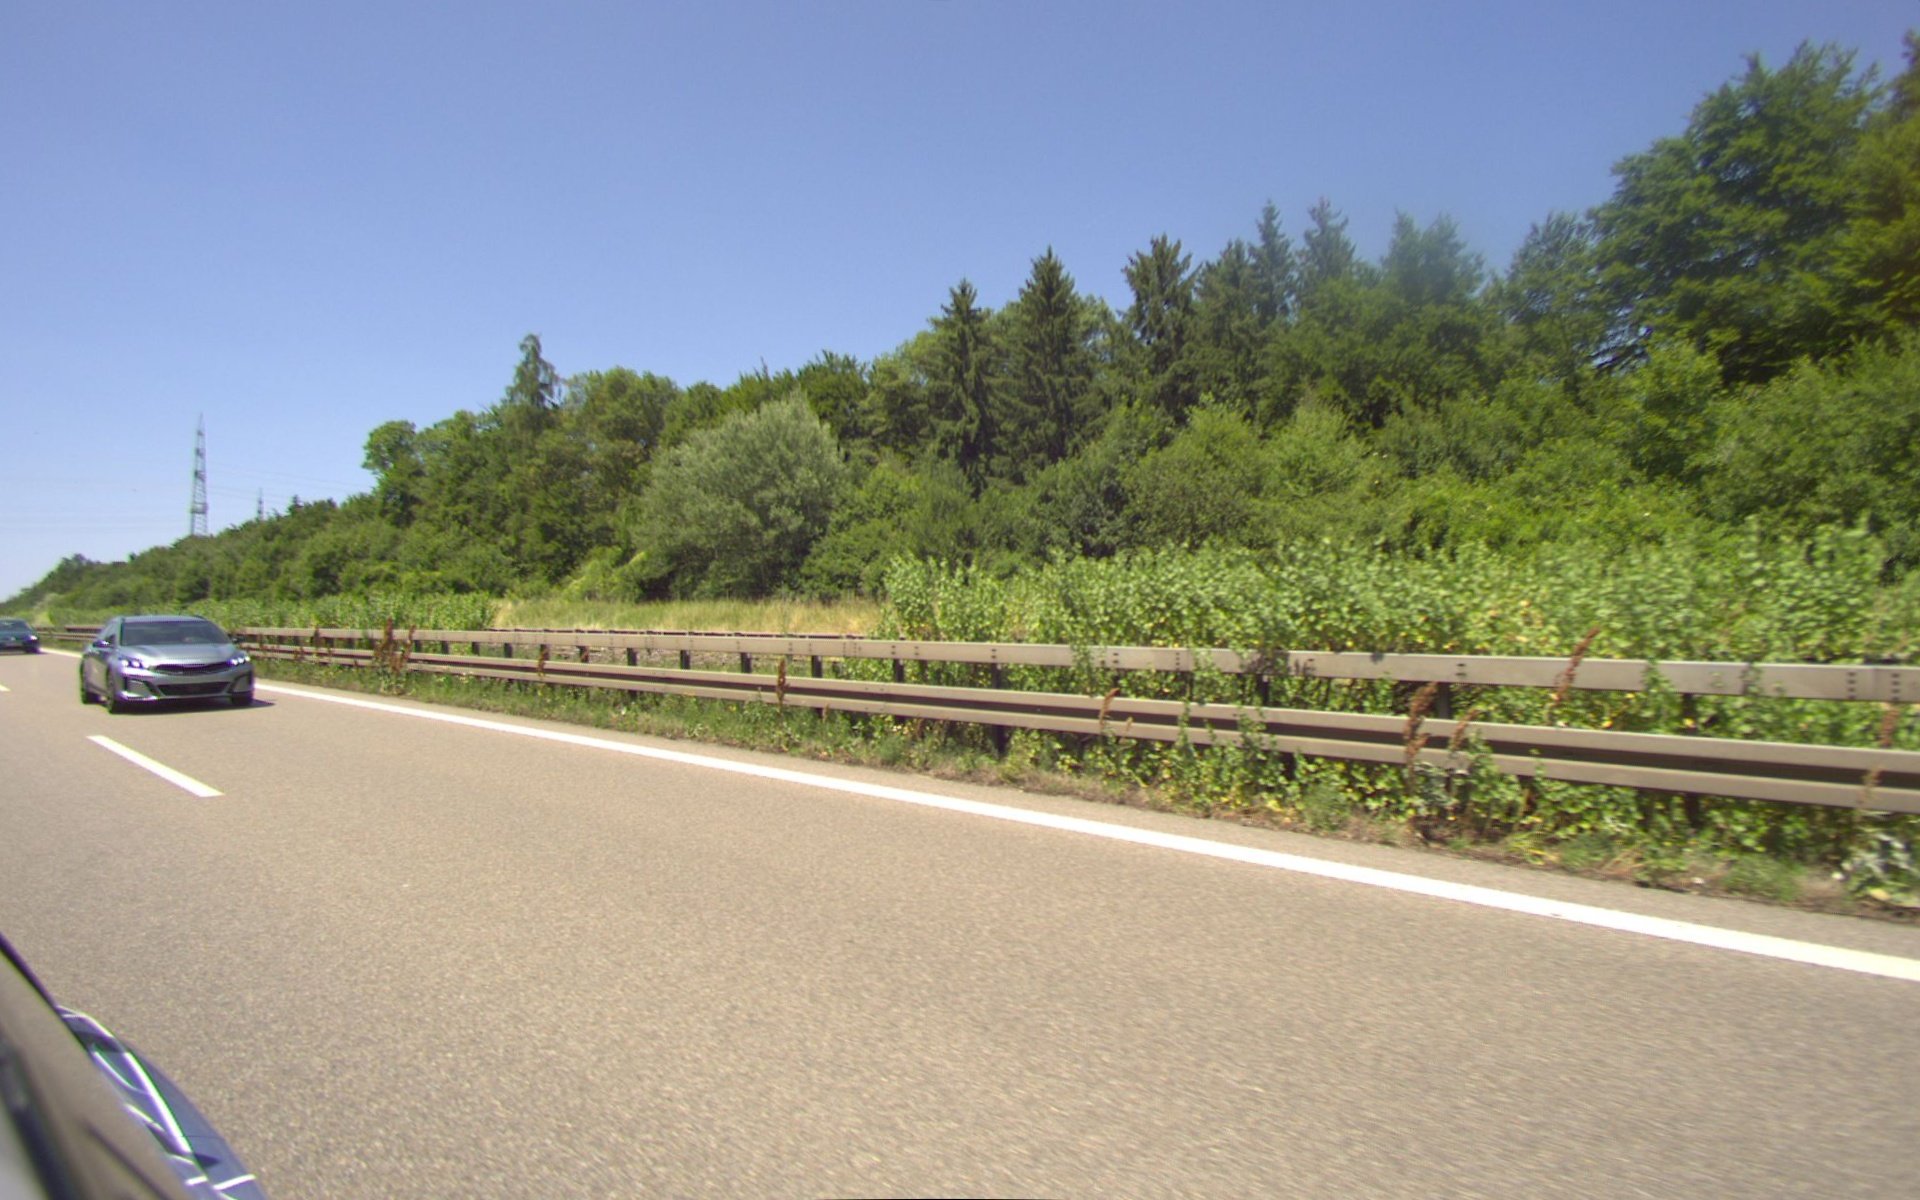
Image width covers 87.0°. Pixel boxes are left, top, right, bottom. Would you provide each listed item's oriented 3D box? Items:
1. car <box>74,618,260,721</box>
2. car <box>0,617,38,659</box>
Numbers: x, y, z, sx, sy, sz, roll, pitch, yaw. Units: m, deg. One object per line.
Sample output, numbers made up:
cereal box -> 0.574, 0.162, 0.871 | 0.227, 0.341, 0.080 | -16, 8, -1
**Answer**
car -> -12.837, 1.023, 16.298 | 3.999, 1.419, 1.745 | -1, -1, 43
car -> -38.651, 1.524, 40.834 | 3.941, 1.632, 1.719 | -1, -1, 41
